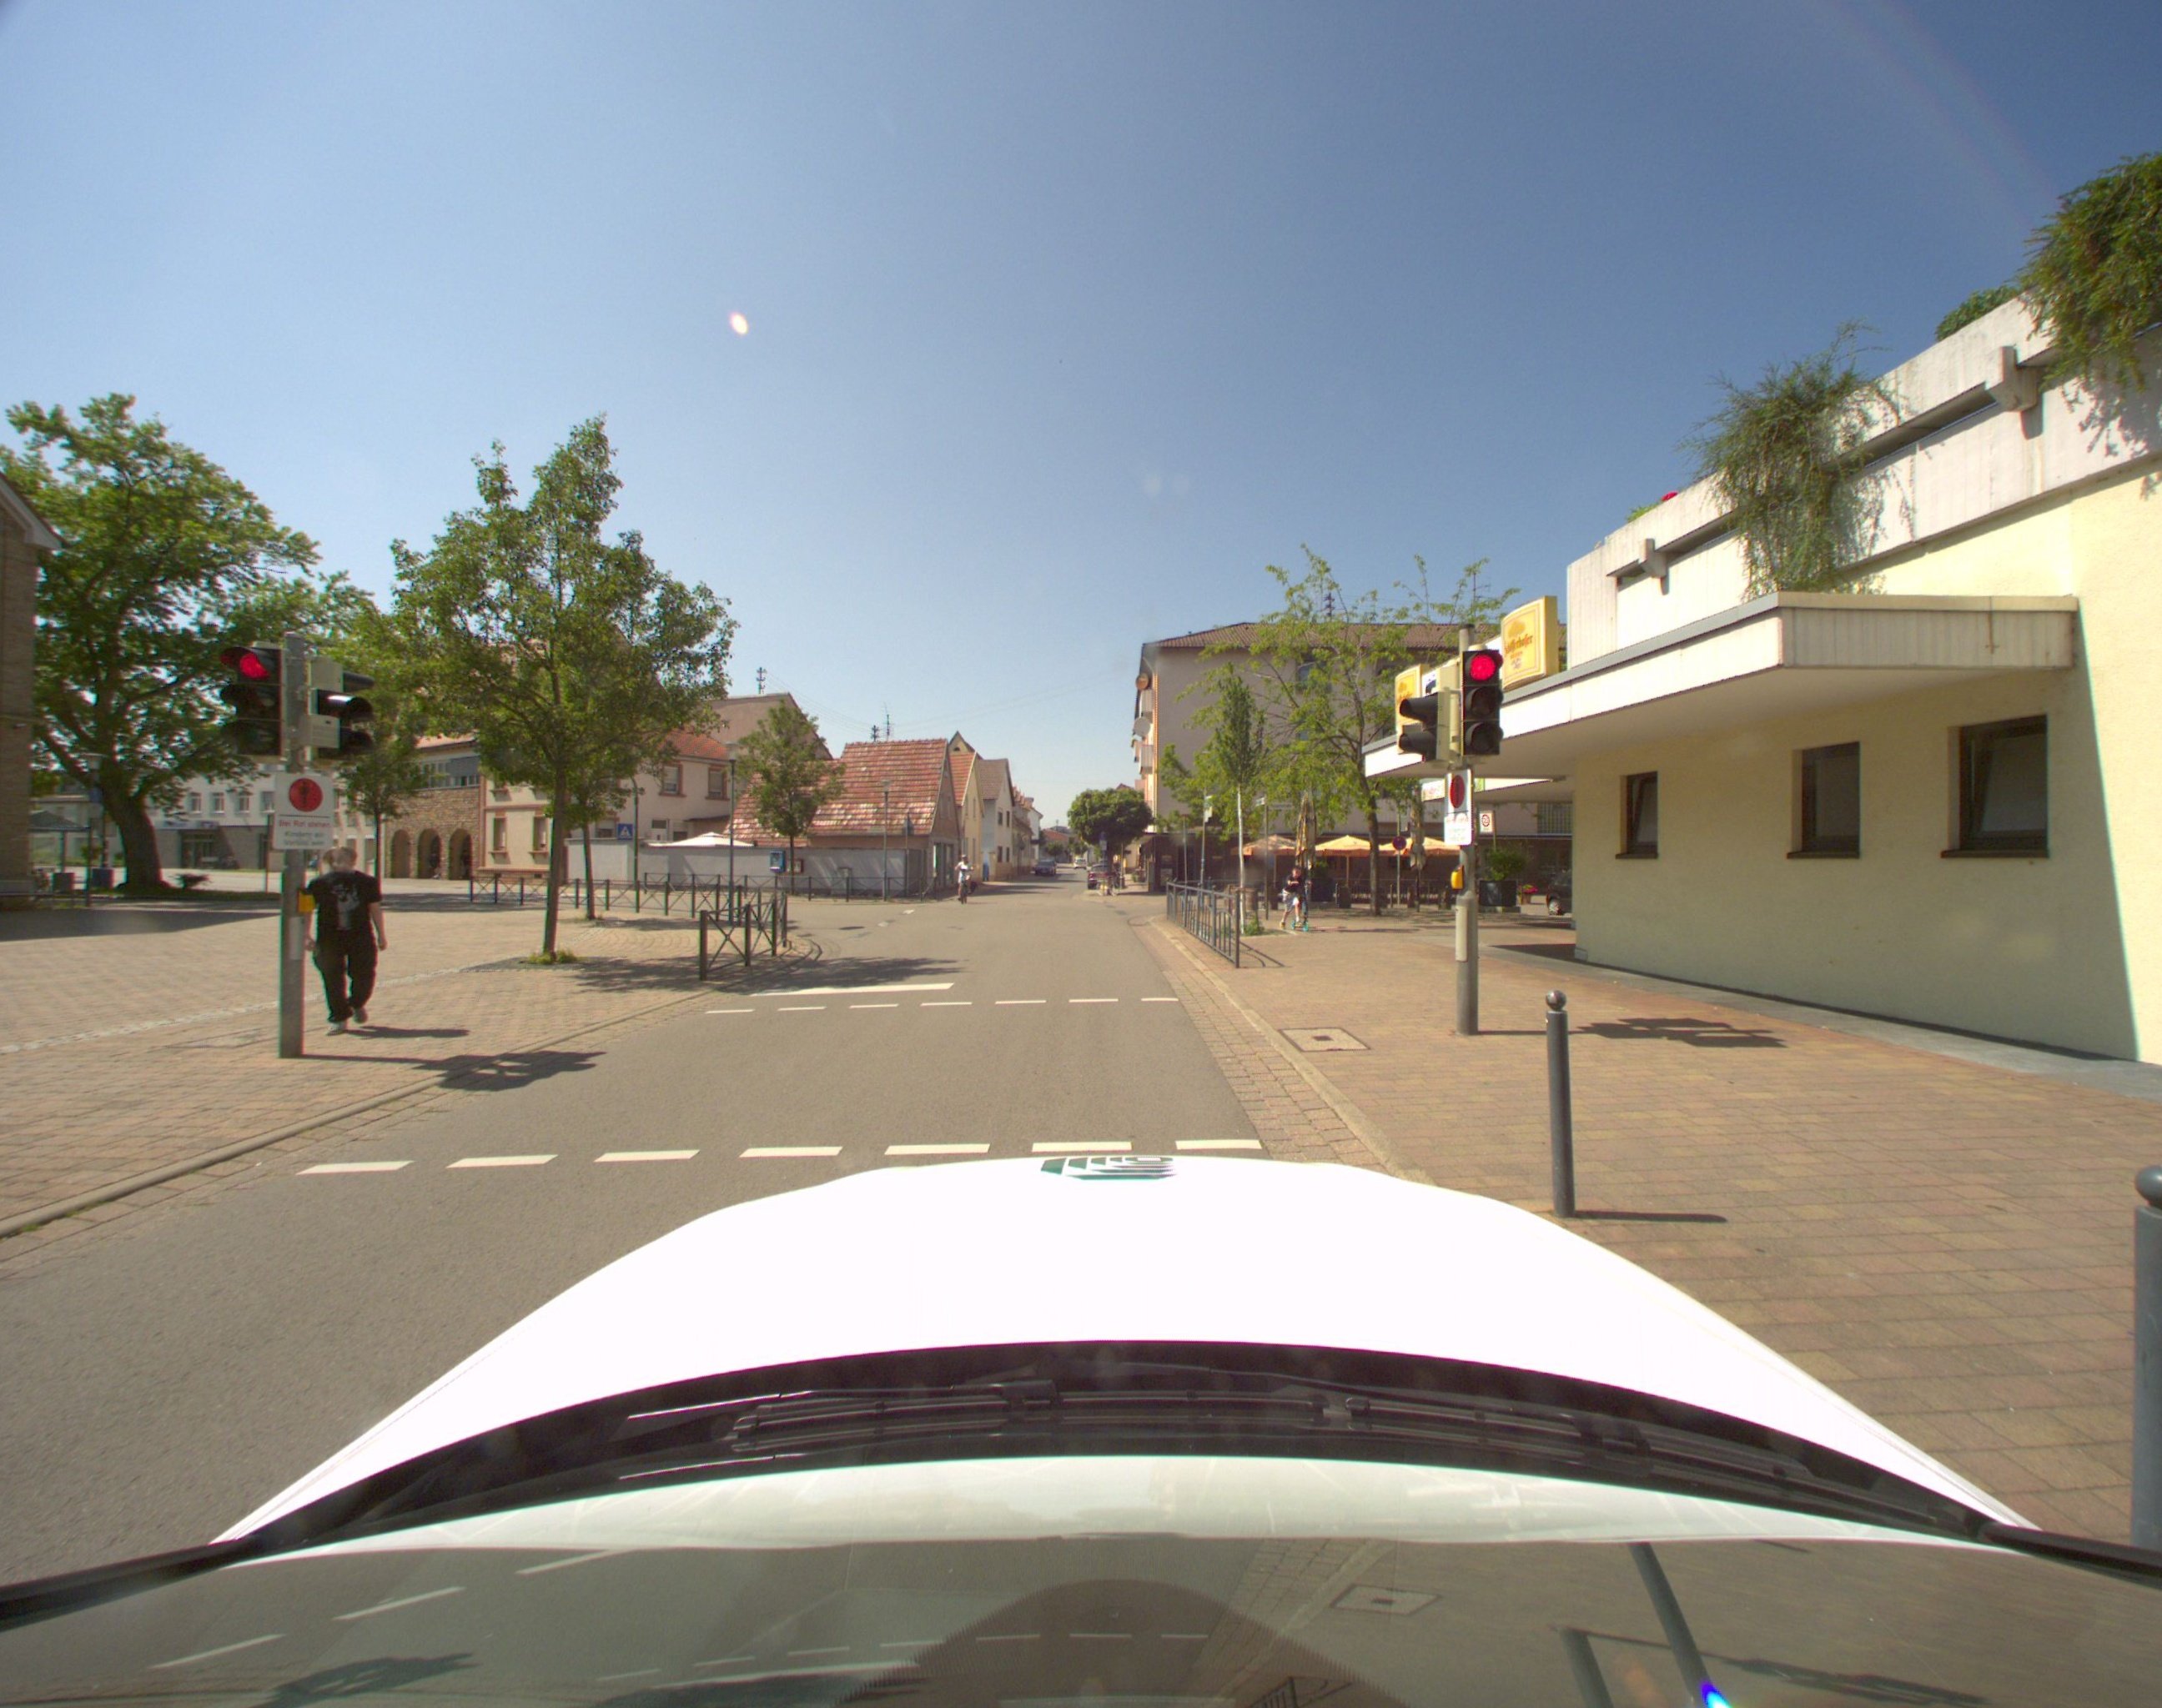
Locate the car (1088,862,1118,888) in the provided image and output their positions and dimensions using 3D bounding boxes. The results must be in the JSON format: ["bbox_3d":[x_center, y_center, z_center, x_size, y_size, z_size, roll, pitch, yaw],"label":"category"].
[{"bbox_3d":[1.300,1.188,47.300,1.569,1.454,3.489,0,-1,4],"label":"car"}]

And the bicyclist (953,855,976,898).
[{"bbox_3d":[-4.147,0.785,29.019,0.712,1.506,0.870,0,-1,-2],"label":"bicyclist"}]

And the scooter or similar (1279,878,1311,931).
[{"bbox_3d":[4.098,0.961,15.625,0.409,0.965,0.961,0,-1,3],"label":"scooter or similar"}]

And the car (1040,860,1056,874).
[{"bbox_3d":[-3.455,1.322,84.997,1.659,1.476,3.448,0,-1,-2],"label":"car"}]

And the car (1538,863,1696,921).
[{"bbox_3d":[15.244,1.053,23.453,1.763,1.510,3.965,1,-1,-4],"label":"car"}]

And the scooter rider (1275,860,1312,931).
[{"bbox_3d":[4.082,0.771,15.704,0.460,1.325,1.134,0,-1,2],"label":"scooter rider"}]

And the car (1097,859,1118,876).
[{"bbox_3d":[2.663,1.318,81.159,2.035,1.689,4.843,0,-1,2],"label":"car"}]

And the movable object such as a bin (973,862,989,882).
[{"bbox_3d":[-7.015,1.255,57.089,1.096,1.366,0.390,0,-1,5],"label":"movable object such as a bin"}]

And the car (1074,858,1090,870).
[{"bbox_3d":[0.064,1.426,117.209,2.023,1.598,4.502,0,-1,-4],"label":"car"}]

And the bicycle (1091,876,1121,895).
[{"bbox_3d":[1.186,1.484,38.675,1.396,0.897,0.468,-2,0,38],"label":"bicycle"}]

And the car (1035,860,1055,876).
[{"bbox_3d":[-3.437,1.301,78.438,1.657,1.476,4.135,0,-1,1],"label":"car"}]

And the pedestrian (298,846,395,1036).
[{"bbox_3d":[-6.629,0.753,7.349,0.543,1.619,0.560,-1,-2,42],"label":"pedestrian"}]

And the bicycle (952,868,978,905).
[{"bbox_3d":[-4.141,1.150,29.141,0.706,1.252,1.971,0,-1,-2],"label":"bicycle"}]
